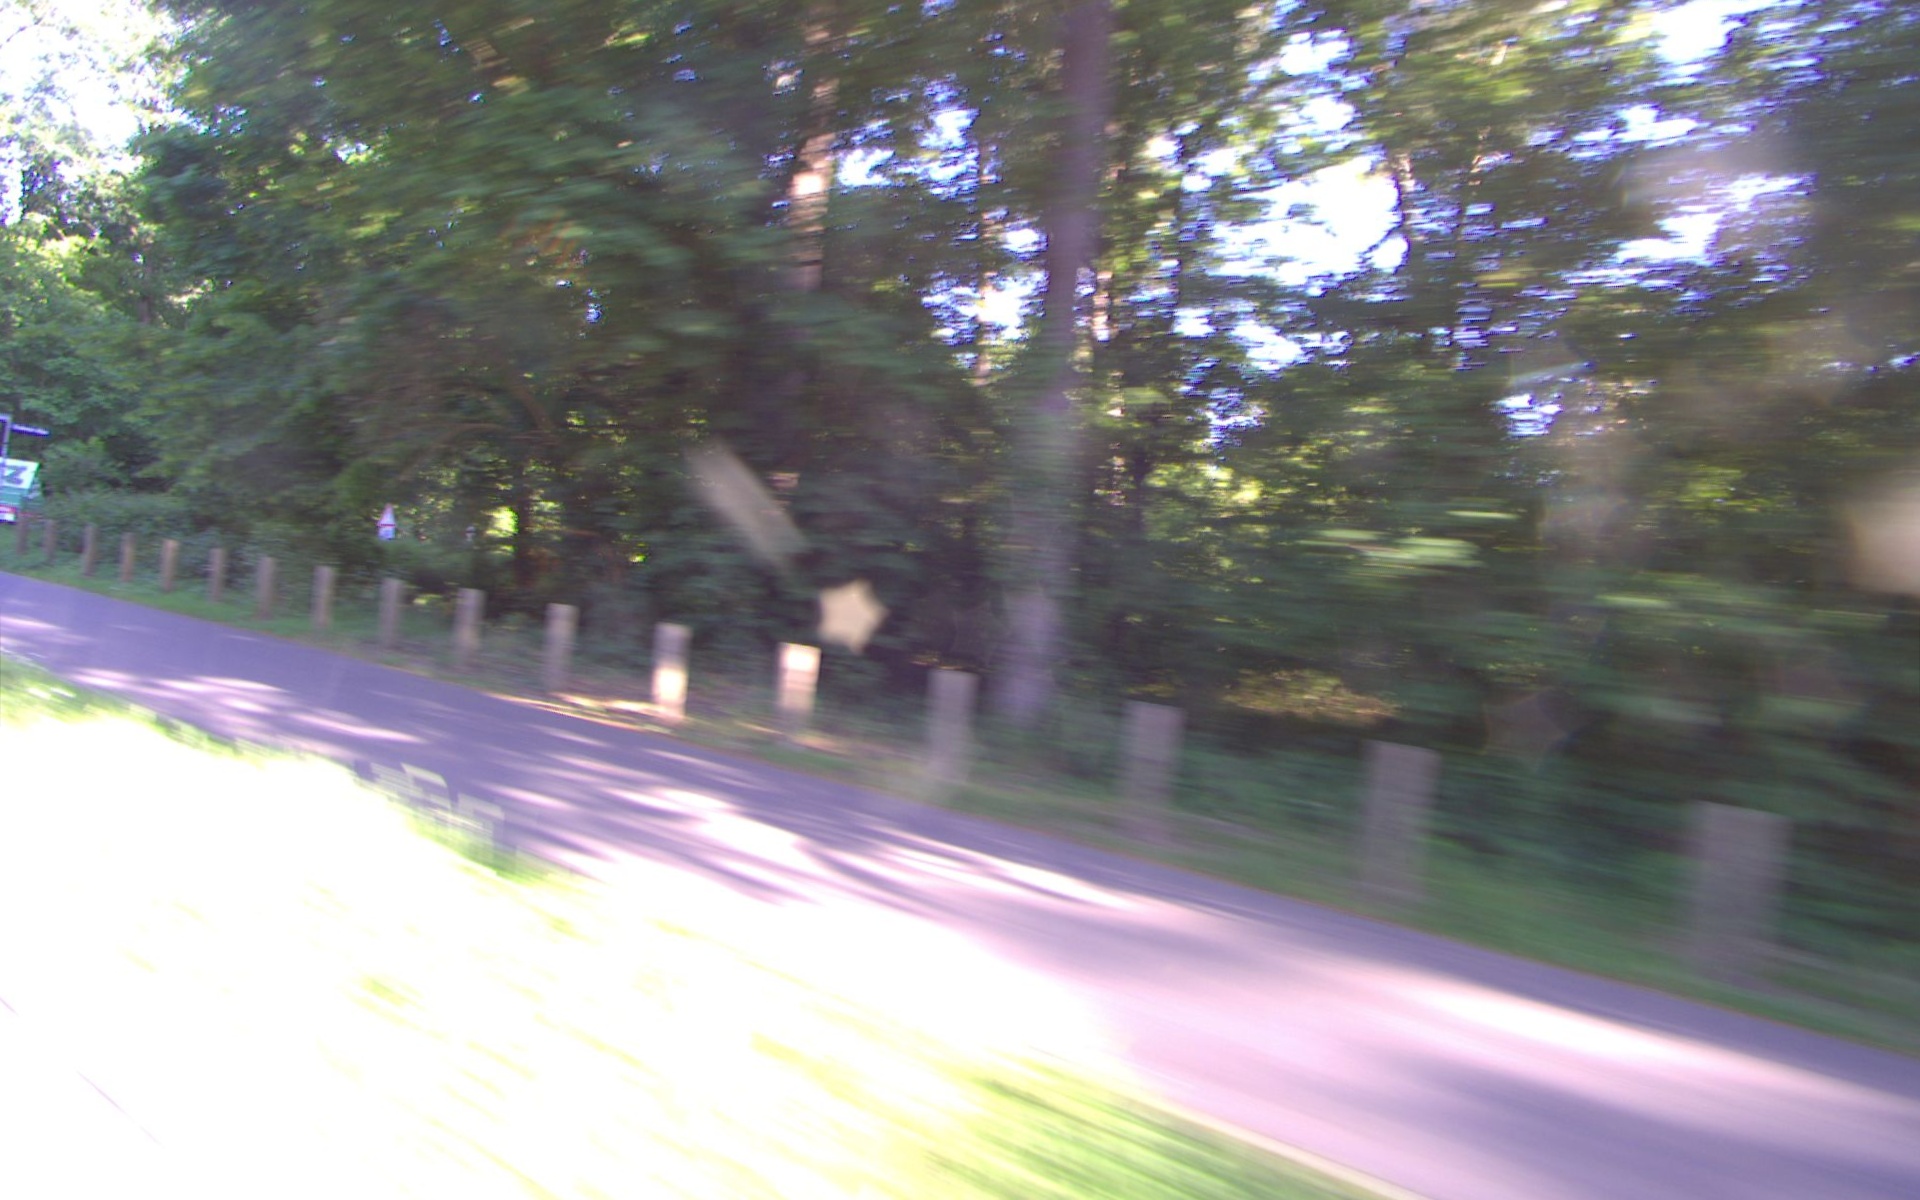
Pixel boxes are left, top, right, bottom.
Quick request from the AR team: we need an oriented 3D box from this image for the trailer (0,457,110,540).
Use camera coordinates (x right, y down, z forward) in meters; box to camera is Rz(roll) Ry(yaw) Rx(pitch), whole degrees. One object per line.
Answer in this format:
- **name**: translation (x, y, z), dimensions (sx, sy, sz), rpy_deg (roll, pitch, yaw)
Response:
- **trailer**: translation (-27.535, -3.050, 28.877), dimensions (4.165, 2.046, 1.992), rpy_deg (7, 0, -18)
